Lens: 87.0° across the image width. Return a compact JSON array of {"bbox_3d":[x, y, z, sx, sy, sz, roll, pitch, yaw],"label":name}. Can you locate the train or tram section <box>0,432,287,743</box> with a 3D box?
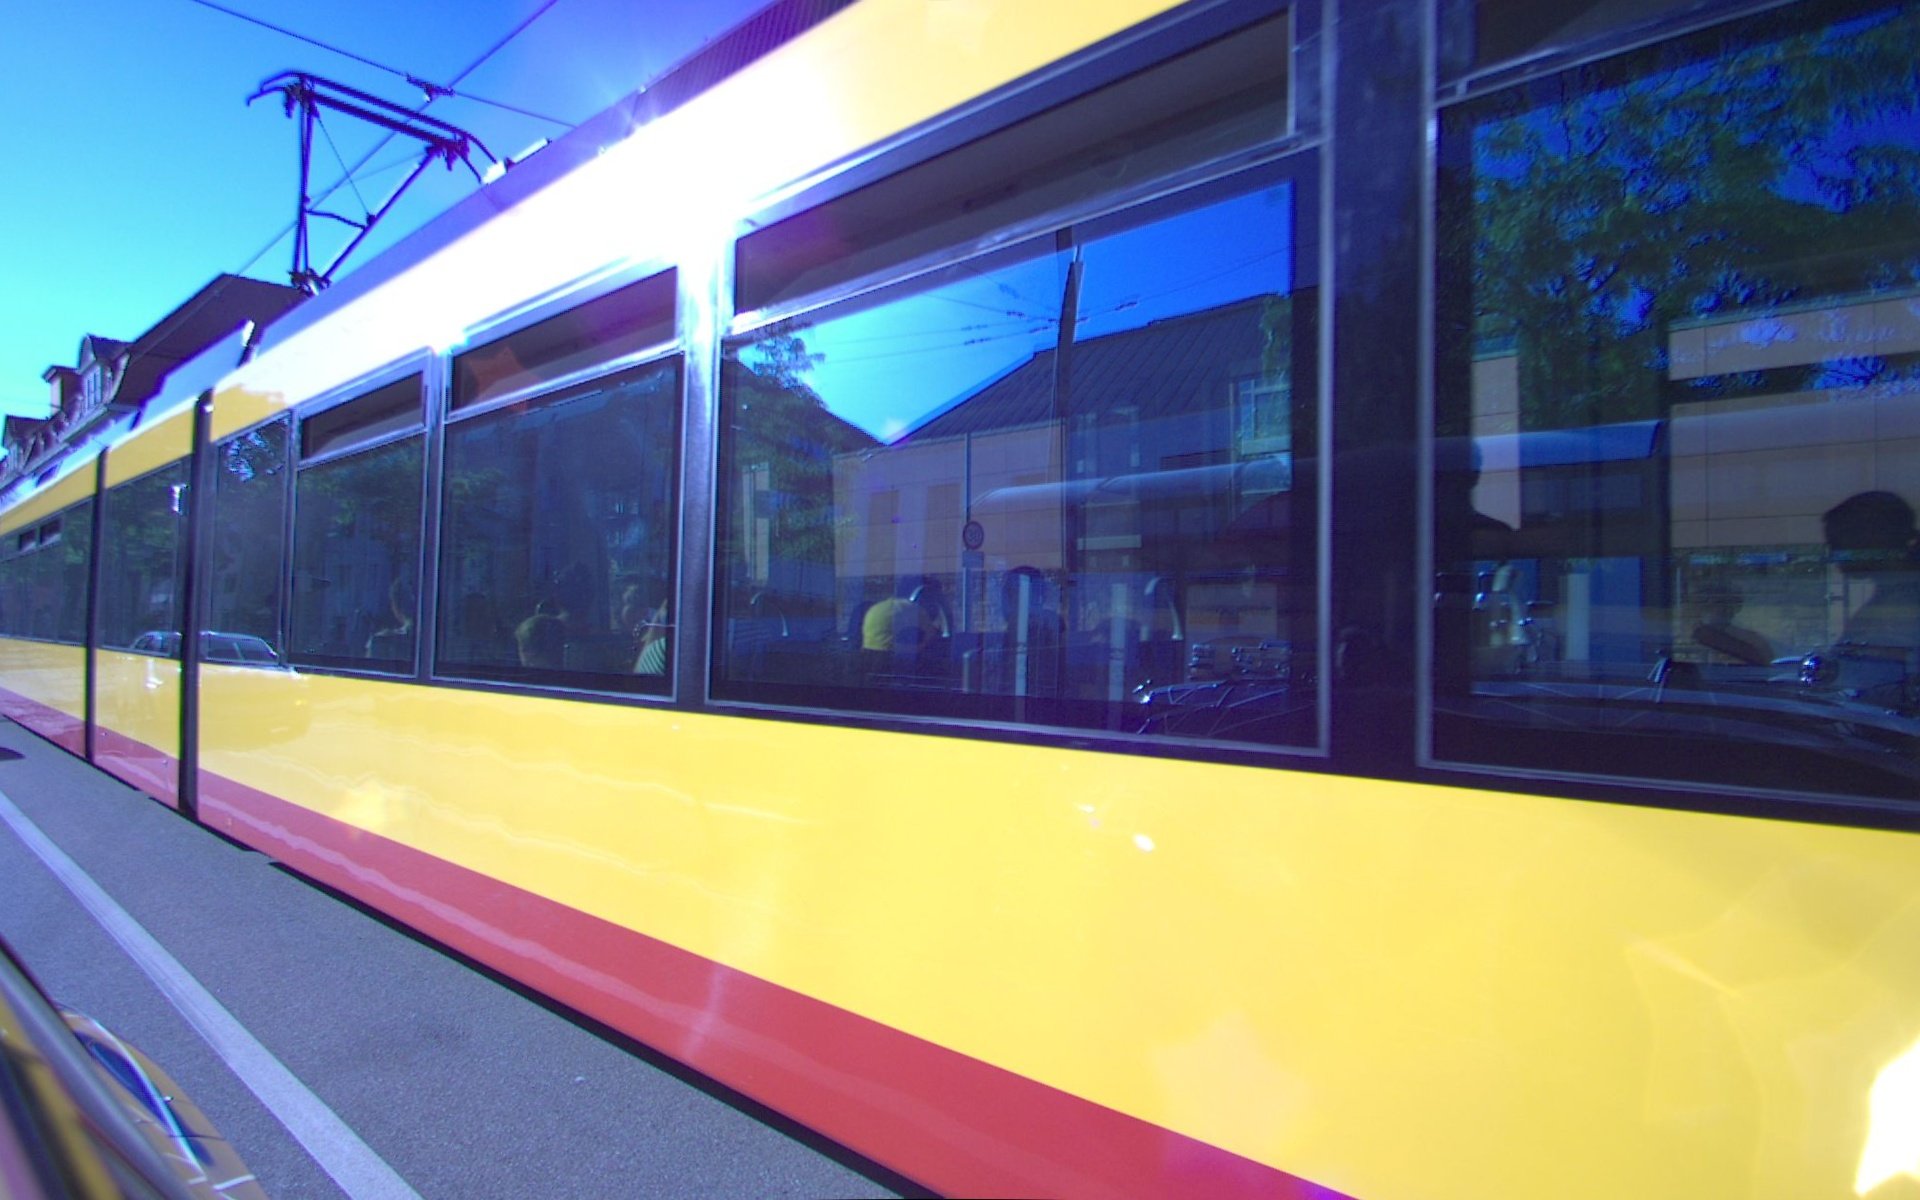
[{"bbox_3d":[-12.356,-0.095,14.623,6.665,3.486,2.774,-1,-1,41],"label":"train or tram section"}]

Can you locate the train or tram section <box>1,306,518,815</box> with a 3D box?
[{"bbox_3d":[-7.353,-0.225,10.188,6.665,3.486,2.774,-1,-1,41],"label":"train or tram section"}]

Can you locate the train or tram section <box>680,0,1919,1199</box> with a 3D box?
[{"bbox_3d":[2.751,-0.454,1.219,6.665,3.486,2.774,-1,-1,41],"label":"train or tram section"}]

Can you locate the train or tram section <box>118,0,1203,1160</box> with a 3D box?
[{"bbox_3d":[-2.326,-0.337,5.732,6.665,3.486,2.774,-1,-1,41],"label":"train or tram section"}]
